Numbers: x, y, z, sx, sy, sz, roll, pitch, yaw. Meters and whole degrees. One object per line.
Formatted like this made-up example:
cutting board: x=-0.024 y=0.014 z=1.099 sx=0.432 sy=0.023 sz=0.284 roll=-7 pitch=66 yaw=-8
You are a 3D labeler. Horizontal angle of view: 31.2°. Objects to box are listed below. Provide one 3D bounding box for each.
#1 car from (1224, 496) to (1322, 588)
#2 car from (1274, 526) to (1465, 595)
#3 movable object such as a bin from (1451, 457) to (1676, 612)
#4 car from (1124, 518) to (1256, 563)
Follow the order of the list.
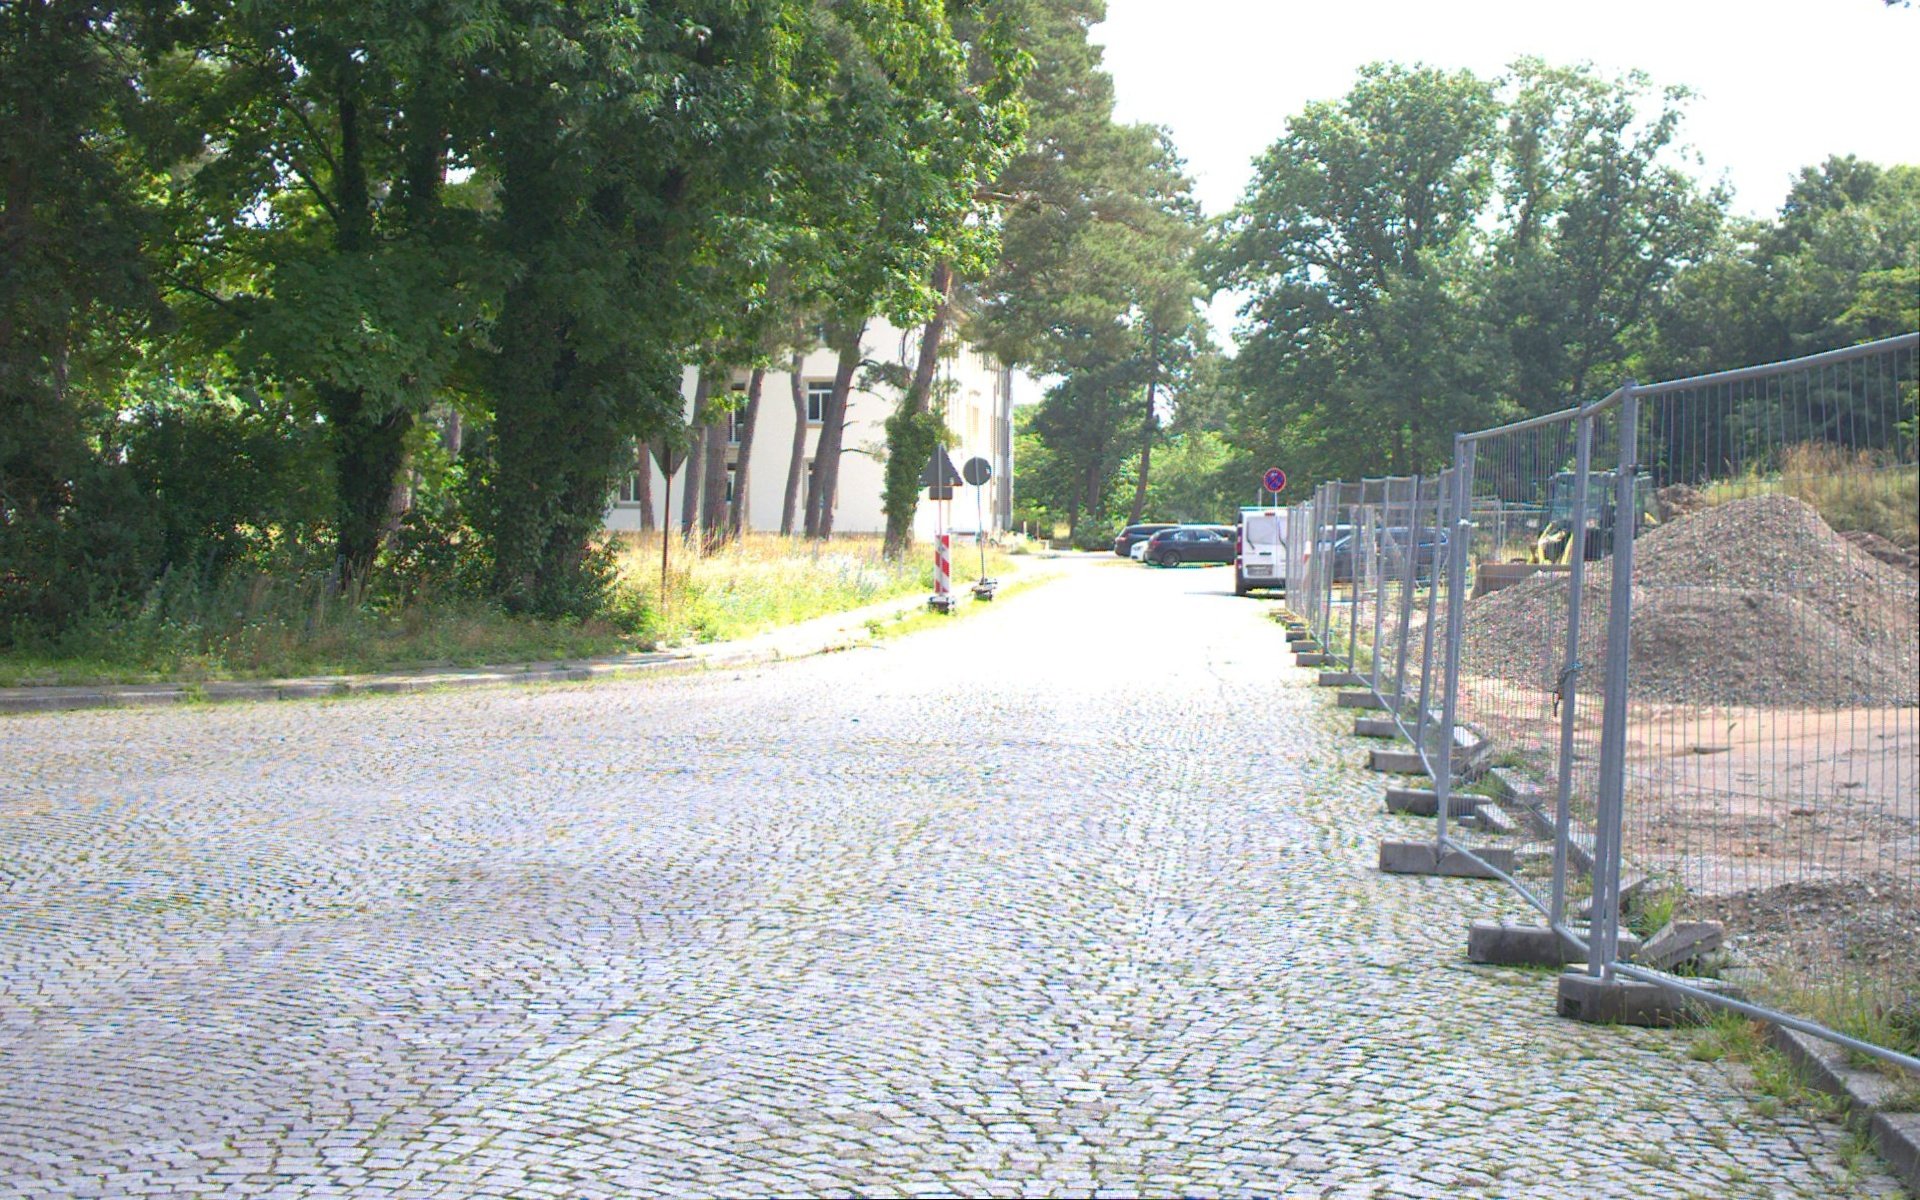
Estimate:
car: x=7.032 y=-1.316 z=77.644 sx=1.994 sy=2.007 sz=4.091 roll=1 pitch=1 yaw=3
car: x=9.952 y=-0.969 z=83.375 sx=4.405 sy=1.505 sz=1.999 roll=2 pitch=1 yaw=12
movable object such as a bin: x=10.591 y=-1.152 z=60.063 sx=2.132 sy=2.584 sz=4.782 roll=1 pitch=2 yaw=33
car: x=8.625 y=-2.241 z=129.235 sx=4.779 sy=1.635 sz=2.000 roll=1 pitch=1 yaw=-1
